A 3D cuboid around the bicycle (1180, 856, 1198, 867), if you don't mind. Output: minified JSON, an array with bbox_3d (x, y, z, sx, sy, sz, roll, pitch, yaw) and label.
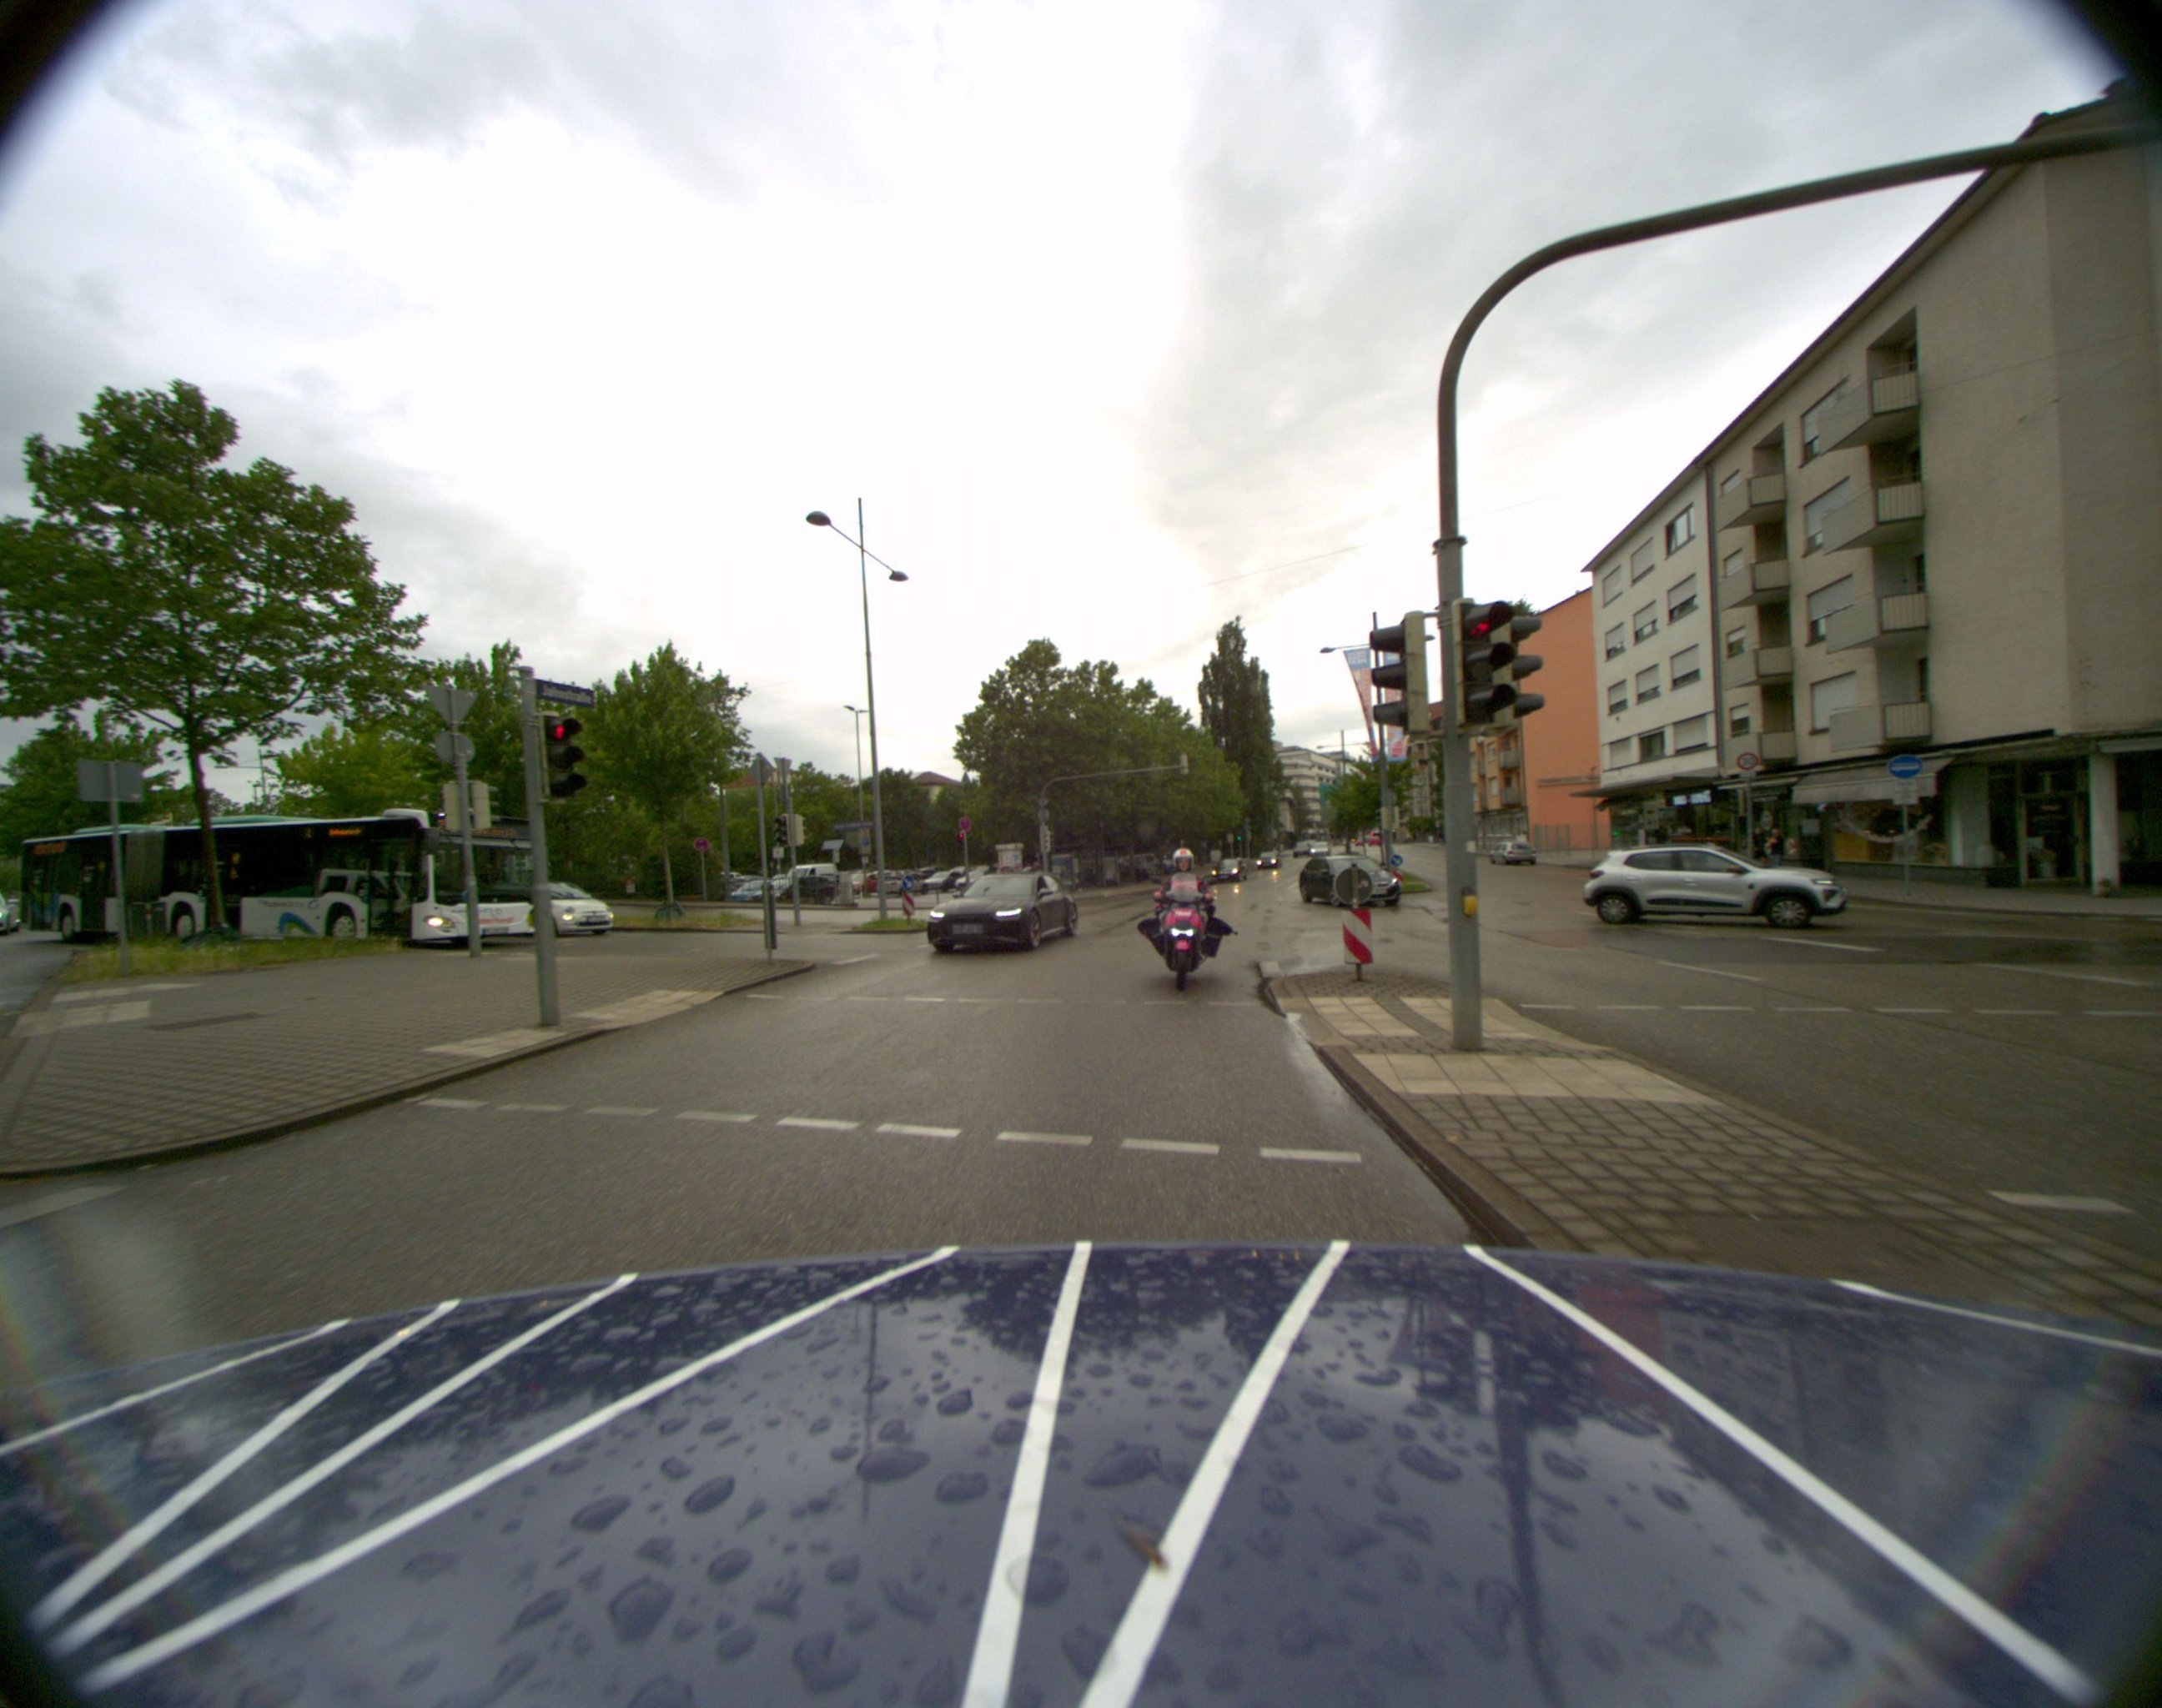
[{"bbox_3d":[12.553,0.885,88.316,1.931,1.088,0.650,-4,2,3],"label":"bicycle"}]

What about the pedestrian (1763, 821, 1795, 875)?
[{"bbox_3d":[22.719,-0.200,24.724,0.452,1.720,0.525,-7,-1,21],"label":"pedestrian"}]

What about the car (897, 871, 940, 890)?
[{"bbox_3d":[-11.919,1.929,55.963,1.529,1.229,3.360,-2,0,18],"label":"car"}]

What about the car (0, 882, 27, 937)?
[{"bbox_3d":[-35.138,1.786,24.021,4.862,1.643,2.004,-2,1,36],"label":"car"}]

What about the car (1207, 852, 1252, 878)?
[{"bbox_3d":[9.282,0.653,47.215,1.893,1.391,4.367,-1,1,23],"label":"car"}]

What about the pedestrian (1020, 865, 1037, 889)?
[{"bbox_3d":[-3.594,1.578,51.910,0.766,1.623,0.862,-3,0,21],"label":"pedestrian"}]

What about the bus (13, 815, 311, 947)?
[{"bbox_3d":[-25.471,0.752,21.000,8.540,3.161,2.692,-1,0,22],"label":"bus"}]

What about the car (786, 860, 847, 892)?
[{"bbox_3d":[-20.733,1.682,59.806,1.970,2.306,5.018,-2,0,15],"label":"car"}]

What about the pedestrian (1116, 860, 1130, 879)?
[{"bbox_3d":[2.950,1.086,53.489,0.632,1.314,0.627,-4,2,33],"label":"pedestrian"}]

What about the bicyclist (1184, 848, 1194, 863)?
[{"bbox_3d":[12.554,0.165,88.264,0.987,1.760,0.797,-4,2,3],"label":"bicyclist"}]

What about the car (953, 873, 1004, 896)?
[{"bbox_3d":[-7.172,2.118,53.659,1.735,1.431,4.450,-2,0,18],"label":"car"}]

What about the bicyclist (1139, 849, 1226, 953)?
[{"bbox_3d":[1.308,0.595,9.658,0.962,1.218,0.716,-4,-2,13],"label":"bicyclist"}]

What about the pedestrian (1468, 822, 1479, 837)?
[{"bbox_3d":[44.456,-2.807,86.128,0.747,1.681,0.682,-3,1,-14],"label":"pedestrian"}]

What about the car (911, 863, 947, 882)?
[{"bbox_3d":[-13.396,1.612,67.194,1.529,1.495,3.638,-2,0,18],"label":"car"}]

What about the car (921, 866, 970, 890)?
[{"bbox_3d":[-9.728,1.686,54.883,1.759,1.581,4.005,-2,0,18],"label":"car"}]

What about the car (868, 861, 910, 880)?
[{"bbox_3d":[-19.088,1.635,75.738,1.970,1.660,4.636,-2,0,15],"label":"car"}]

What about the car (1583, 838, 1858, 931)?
[{"bbox_3d":[11.620,0.539,13.990,1.544,1.453,3.620,-4,0,-41],"label":"car"}]

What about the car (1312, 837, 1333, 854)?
[{"bbox_3d":[24.534,-0.867,77.120,1.894,1.567,4.366,-1,1,18],"label":"car"}]

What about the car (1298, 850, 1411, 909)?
[{"bbox_3d":[8.061,0.676,22.881,1.803,1.426,4.396,-4,1,1],"label":"car"}]

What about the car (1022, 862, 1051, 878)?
[{"bbox_3d":[-4.120,1.475,70.799,1.530,1.419,3.841,-2,0,14],"label":"car"}]

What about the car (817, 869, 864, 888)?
[{"bbox_3d":[-18.092,1.827,57.258,1.529,1.229,3.638,-2,0,18],"label":"car"}]

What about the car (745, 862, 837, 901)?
[{"bbox_3d":[-13.870,1.284,36.601,1.802,1.603,4.267,-3,0,18],"label":"car"}]

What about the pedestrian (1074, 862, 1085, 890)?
[{"bbox_3d":[-0.092,1.362,46.508,0.540,1.685,0.555,-3,0,8],"label":"pedestrian"}]

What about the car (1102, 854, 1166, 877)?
[{"bbox_3d":[4.362,0.963,62.420,4.744,1.397,1.865,-6,0,22],"label":"car"}]

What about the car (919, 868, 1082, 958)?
[{"bbox_3d":[-1.432,1.076,15.431,1.894,1.396,4.365,-1,1,13],"label":"car"}]

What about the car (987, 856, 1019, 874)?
[{"bbox_3d":[-8.499,1.156,83.224,1.778,1.678,4.449,-4,1,18],"label":"car"}]

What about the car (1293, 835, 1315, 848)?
[{"bbox_3d":[25.477,-1.425,86.818,1.893,1.480,4.367,-1,1,23],"label":"car"}]

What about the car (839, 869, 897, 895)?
[{"bbox_3d":[-14.312,1.863,51.228,1.759,1.581,4.005,-2,0,18],"label":"car"}]

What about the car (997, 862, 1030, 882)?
[{"bbox_3d":[-5.735,1.496,65.094,1.638,1.414,3.358,-4,1,17],"label":"car"}]

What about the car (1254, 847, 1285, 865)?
[{"bbox_3d":[15.748,0.140,63.276,1.893,1.413,4.367,-1,1,22],"label":"car"}]

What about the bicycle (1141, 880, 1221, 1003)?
[{"bbox_3d":[1.321,1.007,9.604,0.716,1.297,2.430,-1,-1,14],"label":"bicycle"}]

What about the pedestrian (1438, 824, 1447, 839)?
[{"bbox_3d":[43.107,-2.706,90.533,0.765,1.685,0.801,-3,2,15],"label":"pedestrian"}]

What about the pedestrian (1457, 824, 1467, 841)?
[{"bbox_3d":[39.191,-2.207,78.106,0.560,1.718,0.609,-7,0,-1],"label":"pedestrian"}]

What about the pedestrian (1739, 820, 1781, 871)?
[{"bbox_3d":[24.058,-0.311,26.940,0.778,1.719,0.661,-7,-1,20],"label":"pedestrian"}]

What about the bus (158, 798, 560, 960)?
[{"bbox_3d":[-17.040,0.596,17.844,9.637,3.198,2.709,-1,0,20],"label":"bus"}]

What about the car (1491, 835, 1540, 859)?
[{"bbox_3d":[26.894,-0.471,47.153,1.678,1.384,4.156,-1,1,15],"label":"car"}]

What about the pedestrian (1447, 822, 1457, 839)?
[{"bbox_3d":[42.332,-2.651,86.725,0.745,1.876,0.801,-3,1,15],"label":"pedestrian"}]

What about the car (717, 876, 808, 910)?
[{"bbox_3d":[-16.119,1.938,38.733,1.853,1.432,4.267,-3,0,18],"label":"car"}]

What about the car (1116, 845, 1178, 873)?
[{"bbox_3d":[5.794,0.425,66.389,4.841,1.931,1.953,-6,0,22],"label":"car"}]

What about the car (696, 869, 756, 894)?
[{"bbox_3d":[-28.127,2.145,60.427,1.831,1.819,4.369,-2,0,17],"label":"car"}]

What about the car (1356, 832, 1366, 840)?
[{"bbox_3d":[55.161,-3.523,149.862,1.568,1.385,3.838,-1,2,17],"label":"car"}]

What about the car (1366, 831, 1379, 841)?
[{"bbox_3d":[43.679,-2.743,113.898,1.605,1.422,3.949,-1,2,16],"label":"car"}]

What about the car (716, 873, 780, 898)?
[{"bbox_3d":[-23.387,2.188,53.505,1.759,1.557,4.006,-2,0,22],"label":"car"}]

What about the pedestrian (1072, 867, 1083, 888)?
[{"bbox_3d":[-0.207,1.405,45.739,0.499,1.263,0.402,-3,0,21],"label":"pedestrian"}]

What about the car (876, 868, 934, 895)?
[{"bbox_3d":[-11.552,1.774,50.229,1.759,1.581,4.182,-2,0,18],"label":"car"}]

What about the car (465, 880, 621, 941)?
[{"bbox_3d":[-14.429,1.503,20.413,3.562,1.442,1.592,-3,-1,19],"label":"car"}]
